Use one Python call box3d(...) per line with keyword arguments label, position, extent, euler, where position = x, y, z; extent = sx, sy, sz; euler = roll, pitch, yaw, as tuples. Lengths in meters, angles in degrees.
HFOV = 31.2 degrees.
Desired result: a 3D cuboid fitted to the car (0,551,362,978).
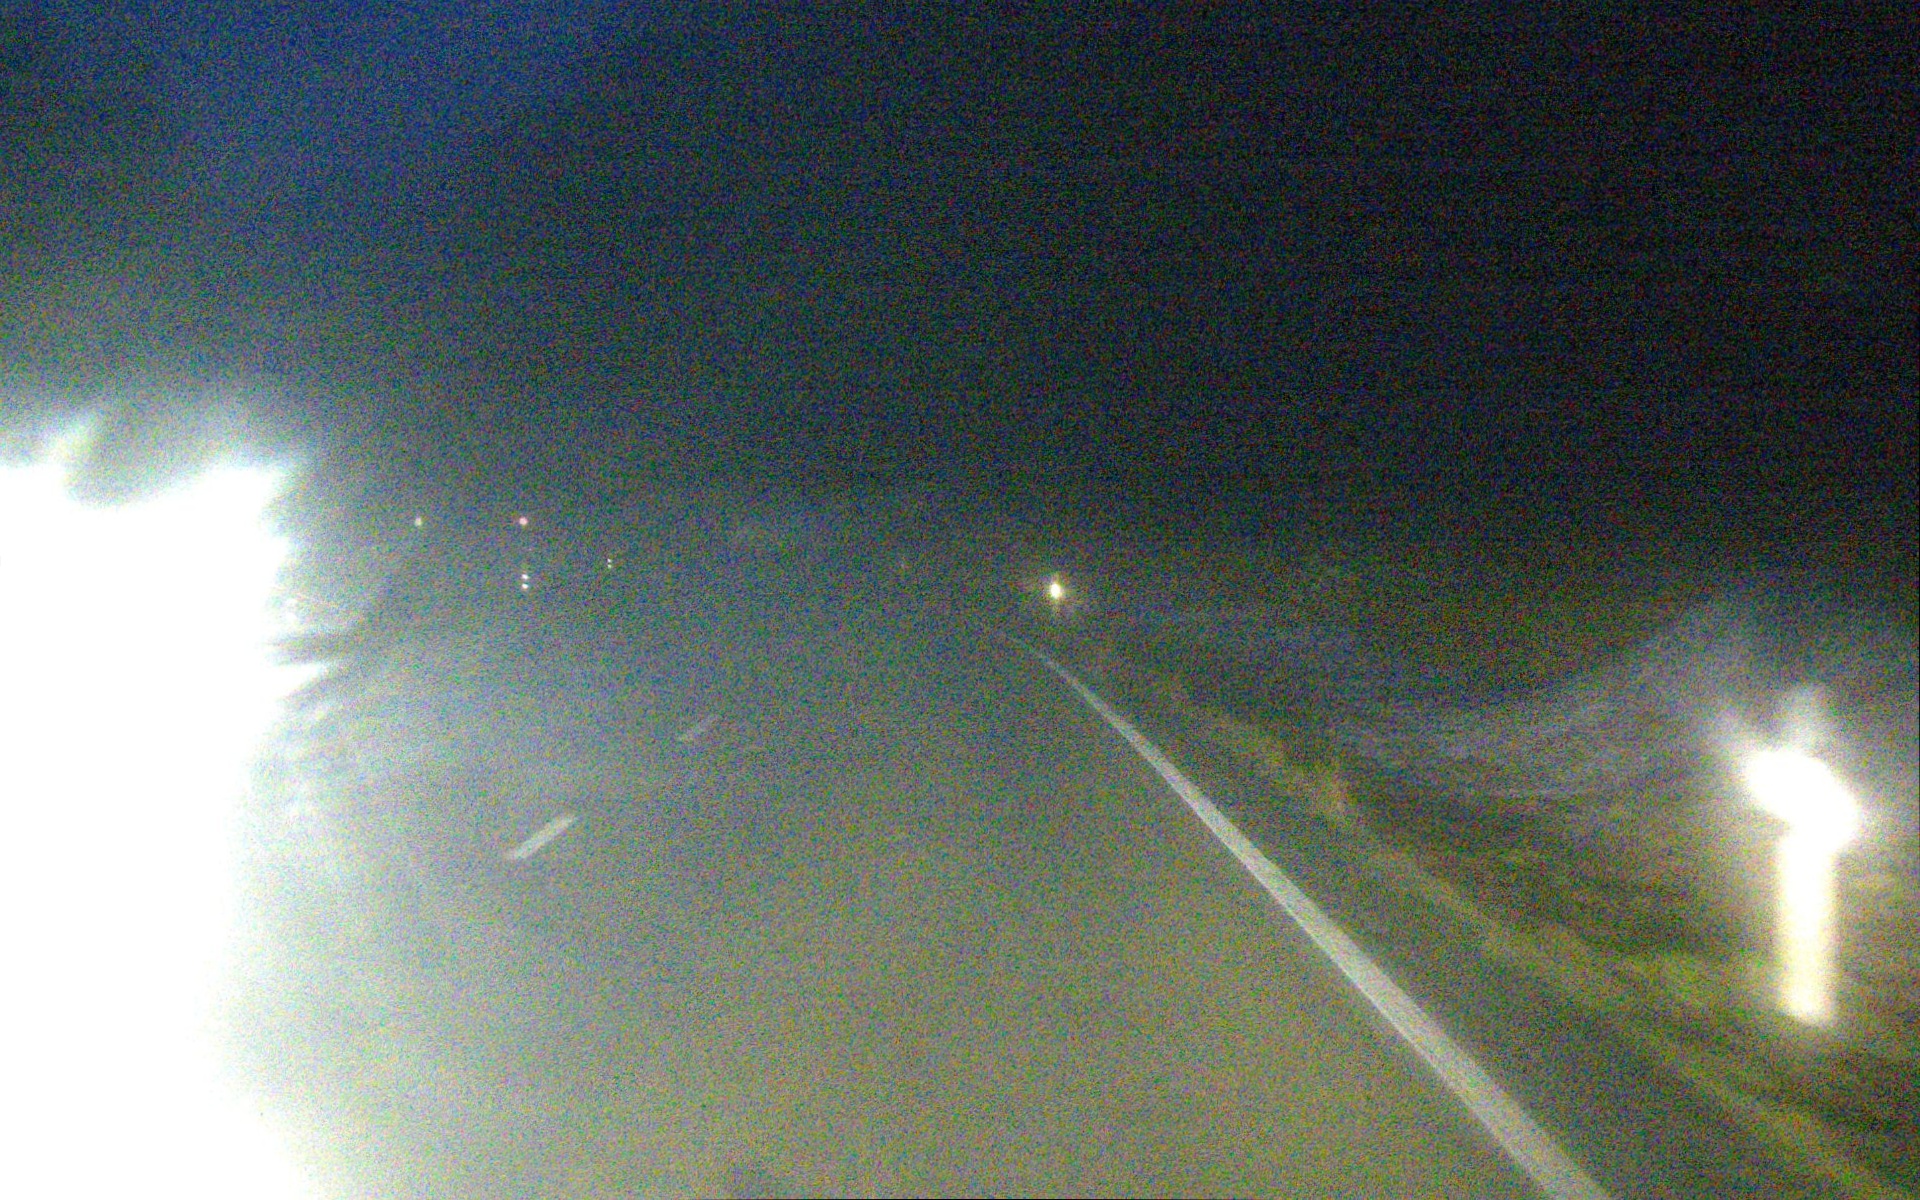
box3d(label="car", position=(-3.741, 0.532, 13.894), extent=(1.917, 1.459, 4.259), euler=(0, 1, 0))
